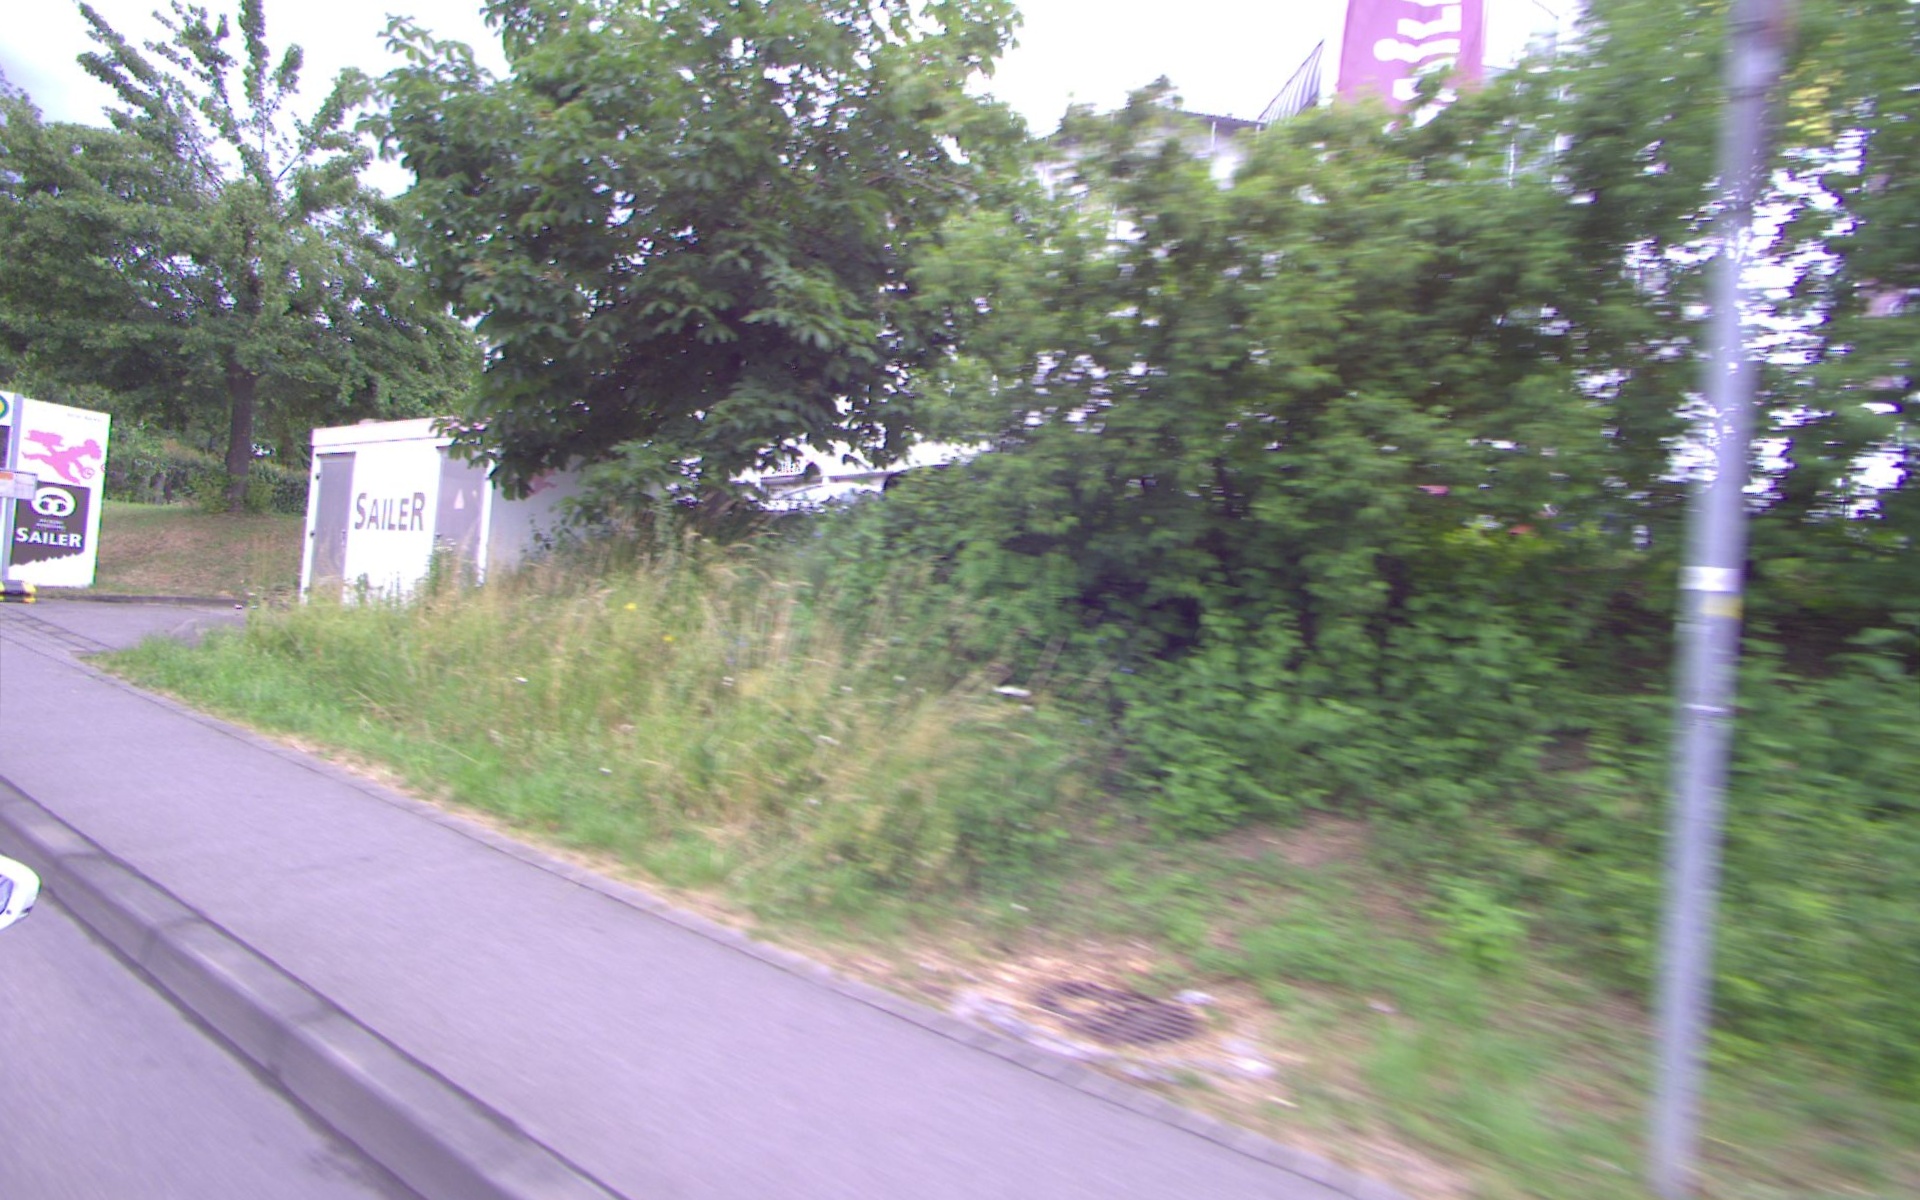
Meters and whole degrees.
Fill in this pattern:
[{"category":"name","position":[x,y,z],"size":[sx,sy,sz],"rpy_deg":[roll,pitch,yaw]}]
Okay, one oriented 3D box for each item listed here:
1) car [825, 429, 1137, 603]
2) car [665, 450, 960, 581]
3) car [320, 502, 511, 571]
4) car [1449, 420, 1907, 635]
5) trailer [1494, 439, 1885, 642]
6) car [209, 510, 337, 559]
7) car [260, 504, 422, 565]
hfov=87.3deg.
[{"category":"car","position":[0.444,-1.085,14.829],"size":[4.485,1.656,1.810],"rpy_deg":[10,-4,-43]},{"category":"car","position":[-2.202,-1.245,16.255],"size":[1.692,1.397,4.688],"rpy_deg":[4,-2,41]},{"category":"car","position":[-13.894,-1.580,25.804],"size":[1.845,1.247,3.866],"rpy_deg":[4,-2,41]},{"category":"car","position":[7.642,-0.584,11.414],"size":[1.797,1.656,4.517],"rpy_deg":[7,-3,0]},{"category":"trailer","position":[14.793,-1.052,20.583],"size":[6.382,3.089,2.470],"rpy_deg":[7,-2,-8]},{"category":"car","position":[-29.366,-2.784,43.075],"size":[4.229,1.467,1.738],"rpy_deg":[8,-1,-44]},{"category":"car","position":[-19.110,-1.985,31.176],"size":[1.809,1.369,3.867],"rpy_deg":[4,-2,40]}]
